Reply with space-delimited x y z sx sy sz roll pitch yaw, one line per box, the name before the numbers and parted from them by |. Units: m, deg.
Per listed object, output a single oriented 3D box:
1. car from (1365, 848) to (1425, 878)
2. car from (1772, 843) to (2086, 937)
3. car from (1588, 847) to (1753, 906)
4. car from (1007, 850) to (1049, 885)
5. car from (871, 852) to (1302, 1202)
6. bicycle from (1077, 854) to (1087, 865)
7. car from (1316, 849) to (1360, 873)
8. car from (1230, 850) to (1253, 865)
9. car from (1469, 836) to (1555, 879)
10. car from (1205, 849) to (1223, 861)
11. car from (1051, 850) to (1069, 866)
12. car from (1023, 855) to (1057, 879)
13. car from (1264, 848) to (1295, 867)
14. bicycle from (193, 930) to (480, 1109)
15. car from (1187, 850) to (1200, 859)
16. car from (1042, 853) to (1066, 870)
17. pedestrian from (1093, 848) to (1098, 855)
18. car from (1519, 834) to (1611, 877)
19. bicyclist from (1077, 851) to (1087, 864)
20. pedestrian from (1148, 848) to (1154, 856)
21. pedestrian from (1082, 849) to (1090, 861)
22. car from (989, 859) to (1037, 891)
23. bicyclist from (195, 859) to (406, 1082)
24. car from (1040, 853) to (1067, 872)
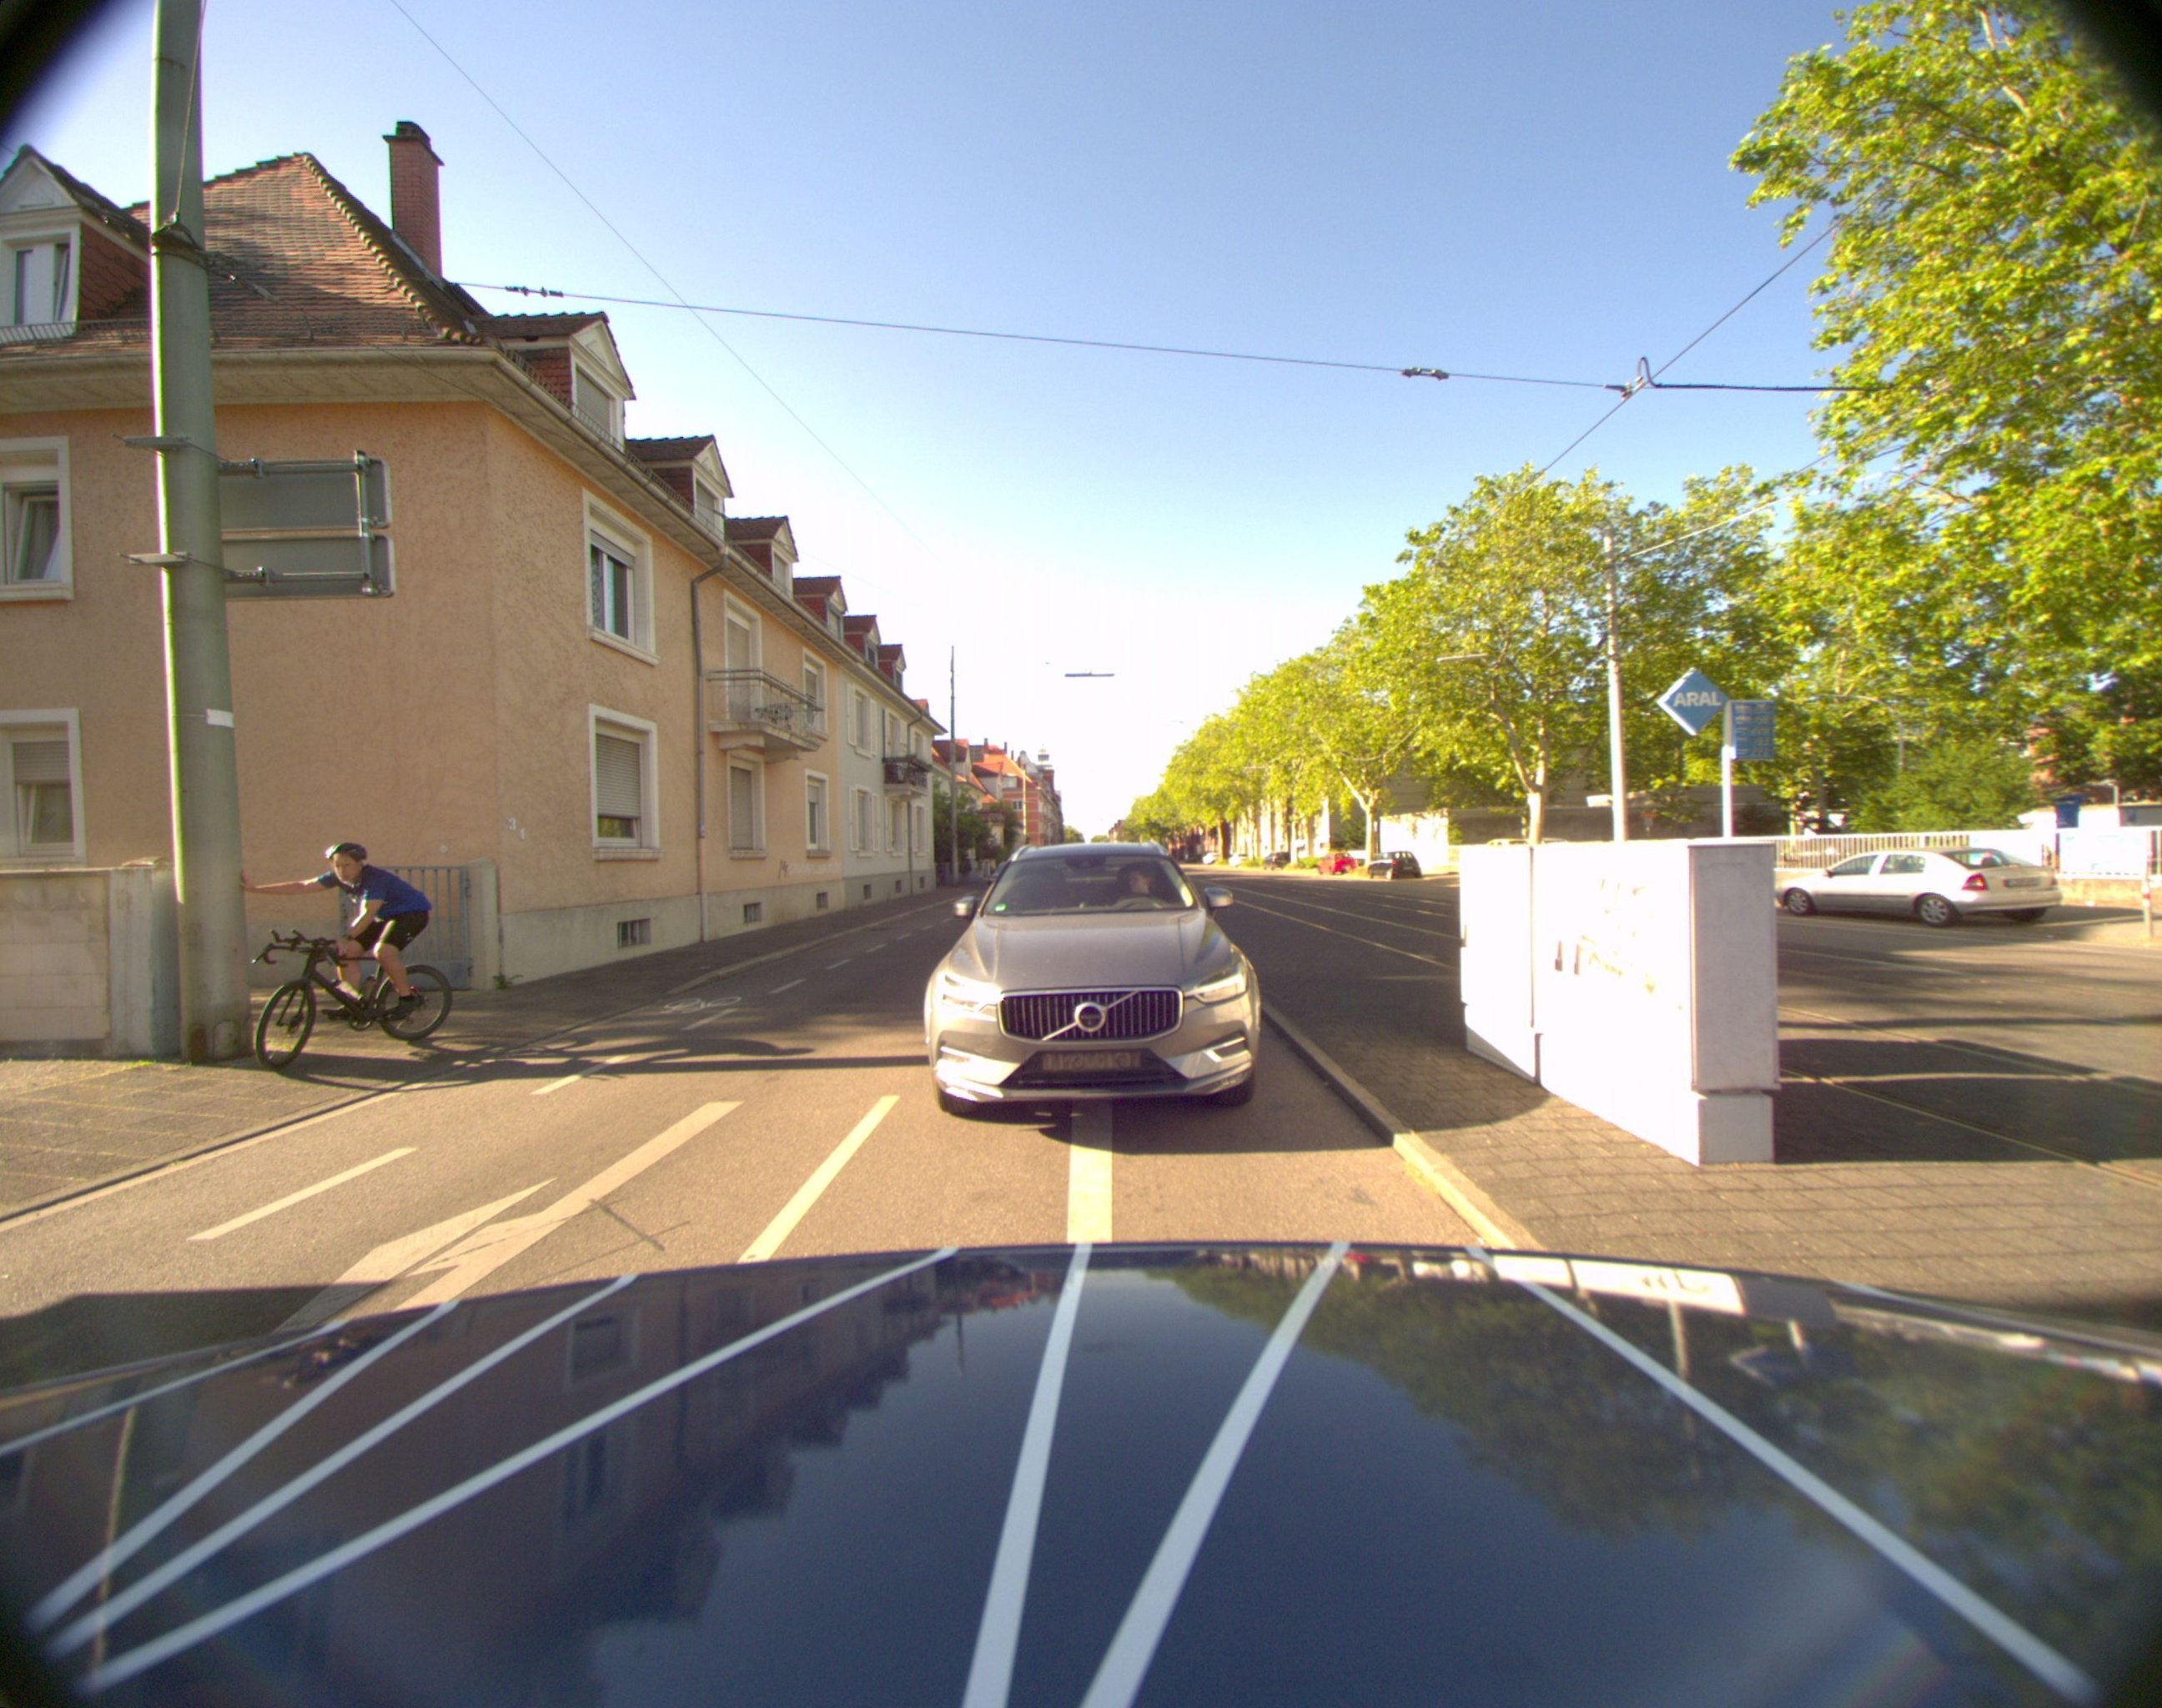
car | 16.893 0.459 41.040 1.758 1.449 3.858 -3 0 3
car | 16.240 0.609 14.906 1.847 1.477 3.858 -4 0 2
car | 16.480 0.570 21.513 1.745 1.389 3.858 -4 0 3
car | -2.912 0.701 42.828 1.867 1.778 5.297 -1 0 1
car | 0.058 0.816 5.929 1.998 1.609 4.697 -1 0 1
bicycle | 0.151 0.643 88.369 1.054 1.262 3.914 -1 0 1
car | 16.905 0.451 50.182 1.717 1.421 3.858 -3 0 3
car | 17.578 0.355 83.341 1.758 1.475 3.858 -3 0 3
car | 21.812 0.169 38.639 1.999 2.002 3.999 -1 0 -1
car | 17.671 0.163 100.935 1.758 1.475 3.858 -3 0 3
car | -2.325 0.430 85.448 1.867 1.653 4.078 -1 0 1
car | -2.577 0.813 48.496 1.867 1.399 4.078 -1 0 1
car | 17.173 0.293 65.914 1.758 1.536 3.858 -3 0 3
bicycle | -6.026 1.272 6.323 0.550 1.056 1.794 4 0 1
car | 18.506 0.056 125.292 1.758 1.475 3.858 -3 0 3
car | -2.353 0.619 66.359 1.867 1.399 4.078 -1 0 1
pedestrian | 4.795 -0.894 252.163 1.791 2.481 1.901 -1 1 2
car | 24.160 0.080 38.099 1.999 2.002 3.999 -1 0 -1
bicyclist | 0.136 0.356 88.410 1.054 1.496 1.250 -1 1 1
pedestrian | 19.591 -0.549 213.135 1.686 2.002 1.761 -1 1 1
pedestrian | 0.886 0.182 134.105 1.457 2.002 1.193 -1 1 0
car | -3.235 0.963 37.074 1.867 1.399 4.424 -1 0 1
bicyclist | -6.145 0.857 6.050 0.562 1.607 1.016 -1 1 1
car | -2.132 0.666 60.055 1.867 1.399 4.078 -1 0 1
